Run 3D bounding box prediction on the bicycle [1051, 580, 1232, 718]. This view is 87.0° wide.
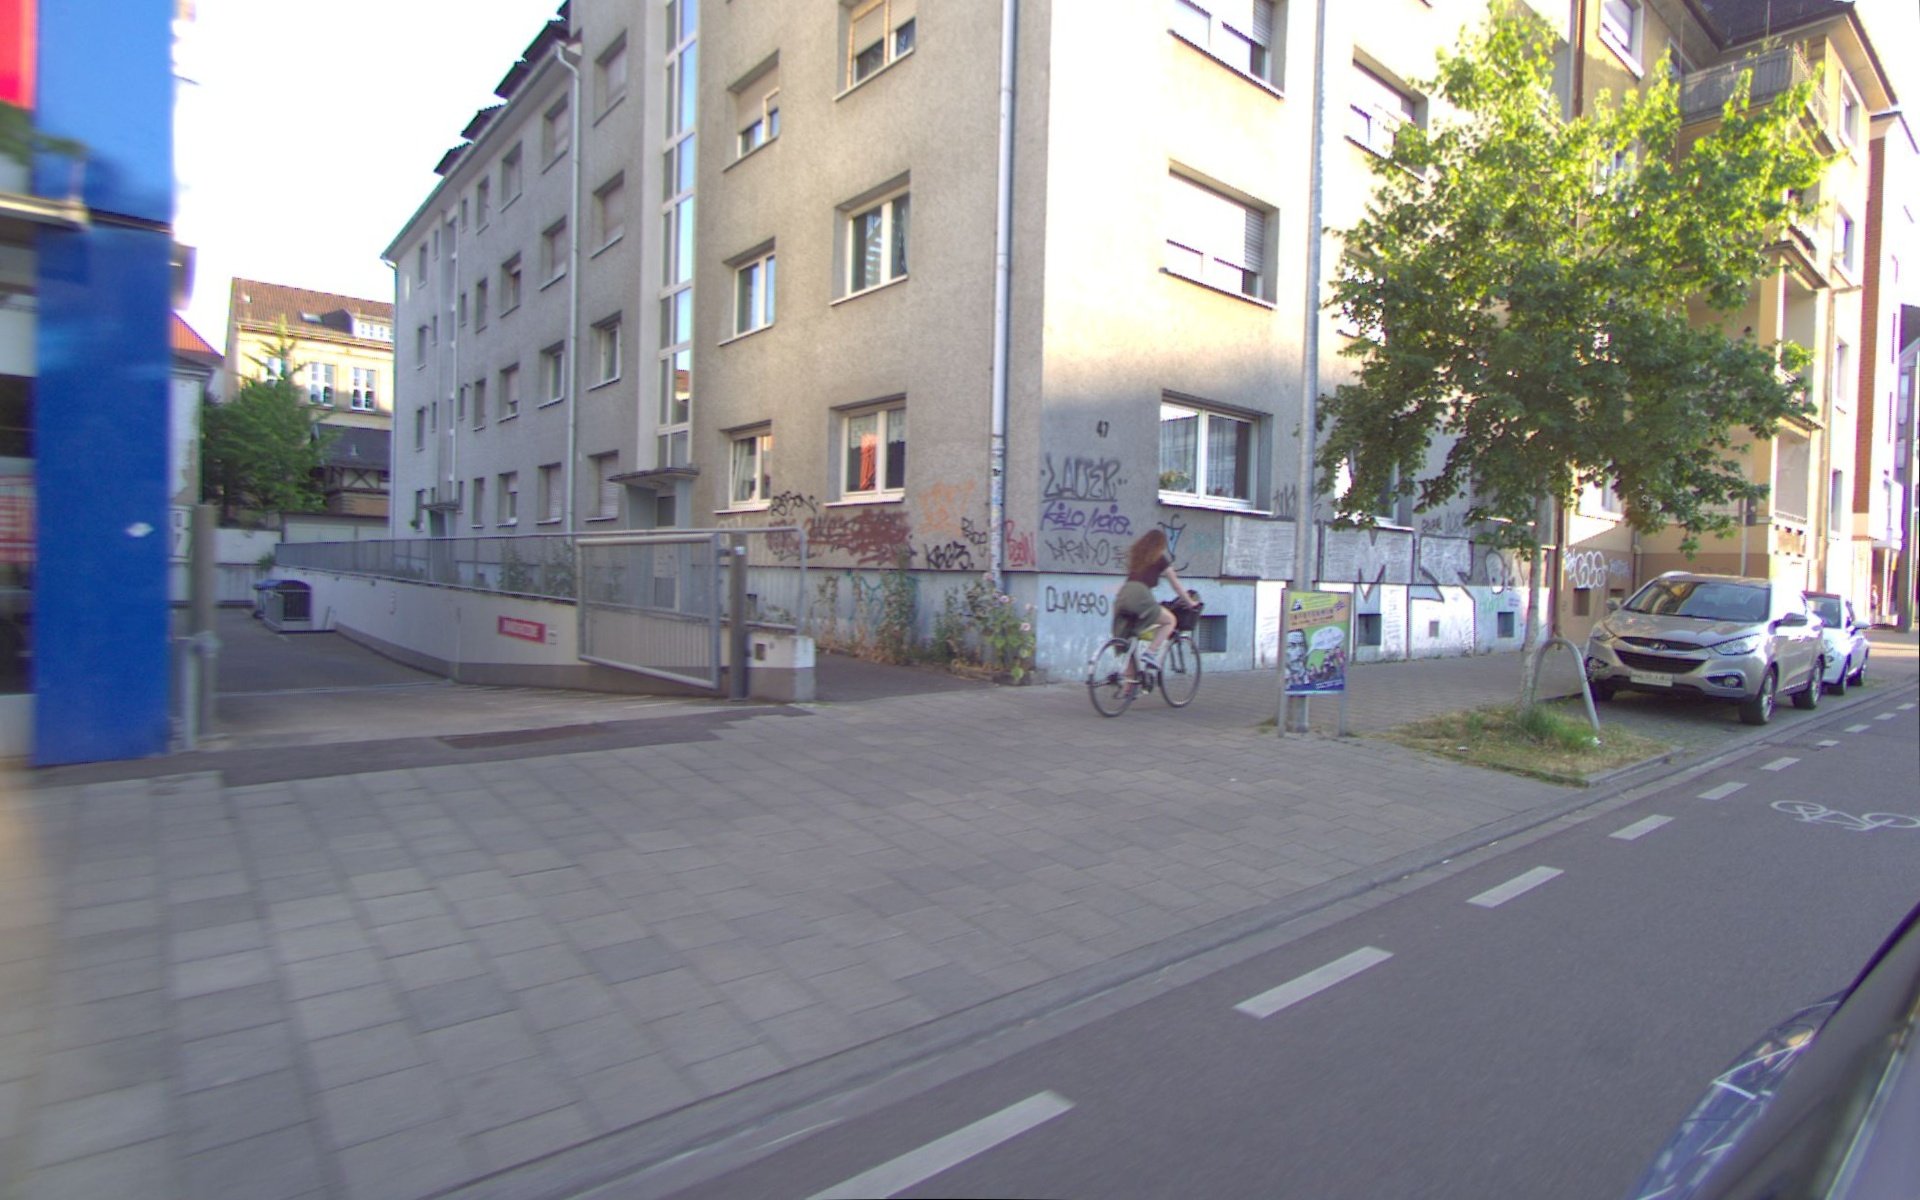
[{"bbox_3d":[1.741,0.407,9.525,1.940,1.143,0.555,-1,5,-43],"label":"bicycle"}]

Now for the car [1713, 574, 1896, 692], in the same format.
[{"bbox_3d":[13.553,0.441,16.185,3.540,1.535,1.673,-1,6,-42],"label":"car"}]

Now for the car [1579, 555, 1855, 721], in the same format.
[{"bbox_3d":[9.672,0.366,12.799,4.448,1.674,1.761,0,4,-40],"label":"car"}]

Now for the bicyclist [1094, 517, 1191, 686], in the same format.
[{"bbox_3d":[1.700,-0.003,9.444,0.612,1.493,0.559,-1,5,-42],"label":"bicyclist"}]
